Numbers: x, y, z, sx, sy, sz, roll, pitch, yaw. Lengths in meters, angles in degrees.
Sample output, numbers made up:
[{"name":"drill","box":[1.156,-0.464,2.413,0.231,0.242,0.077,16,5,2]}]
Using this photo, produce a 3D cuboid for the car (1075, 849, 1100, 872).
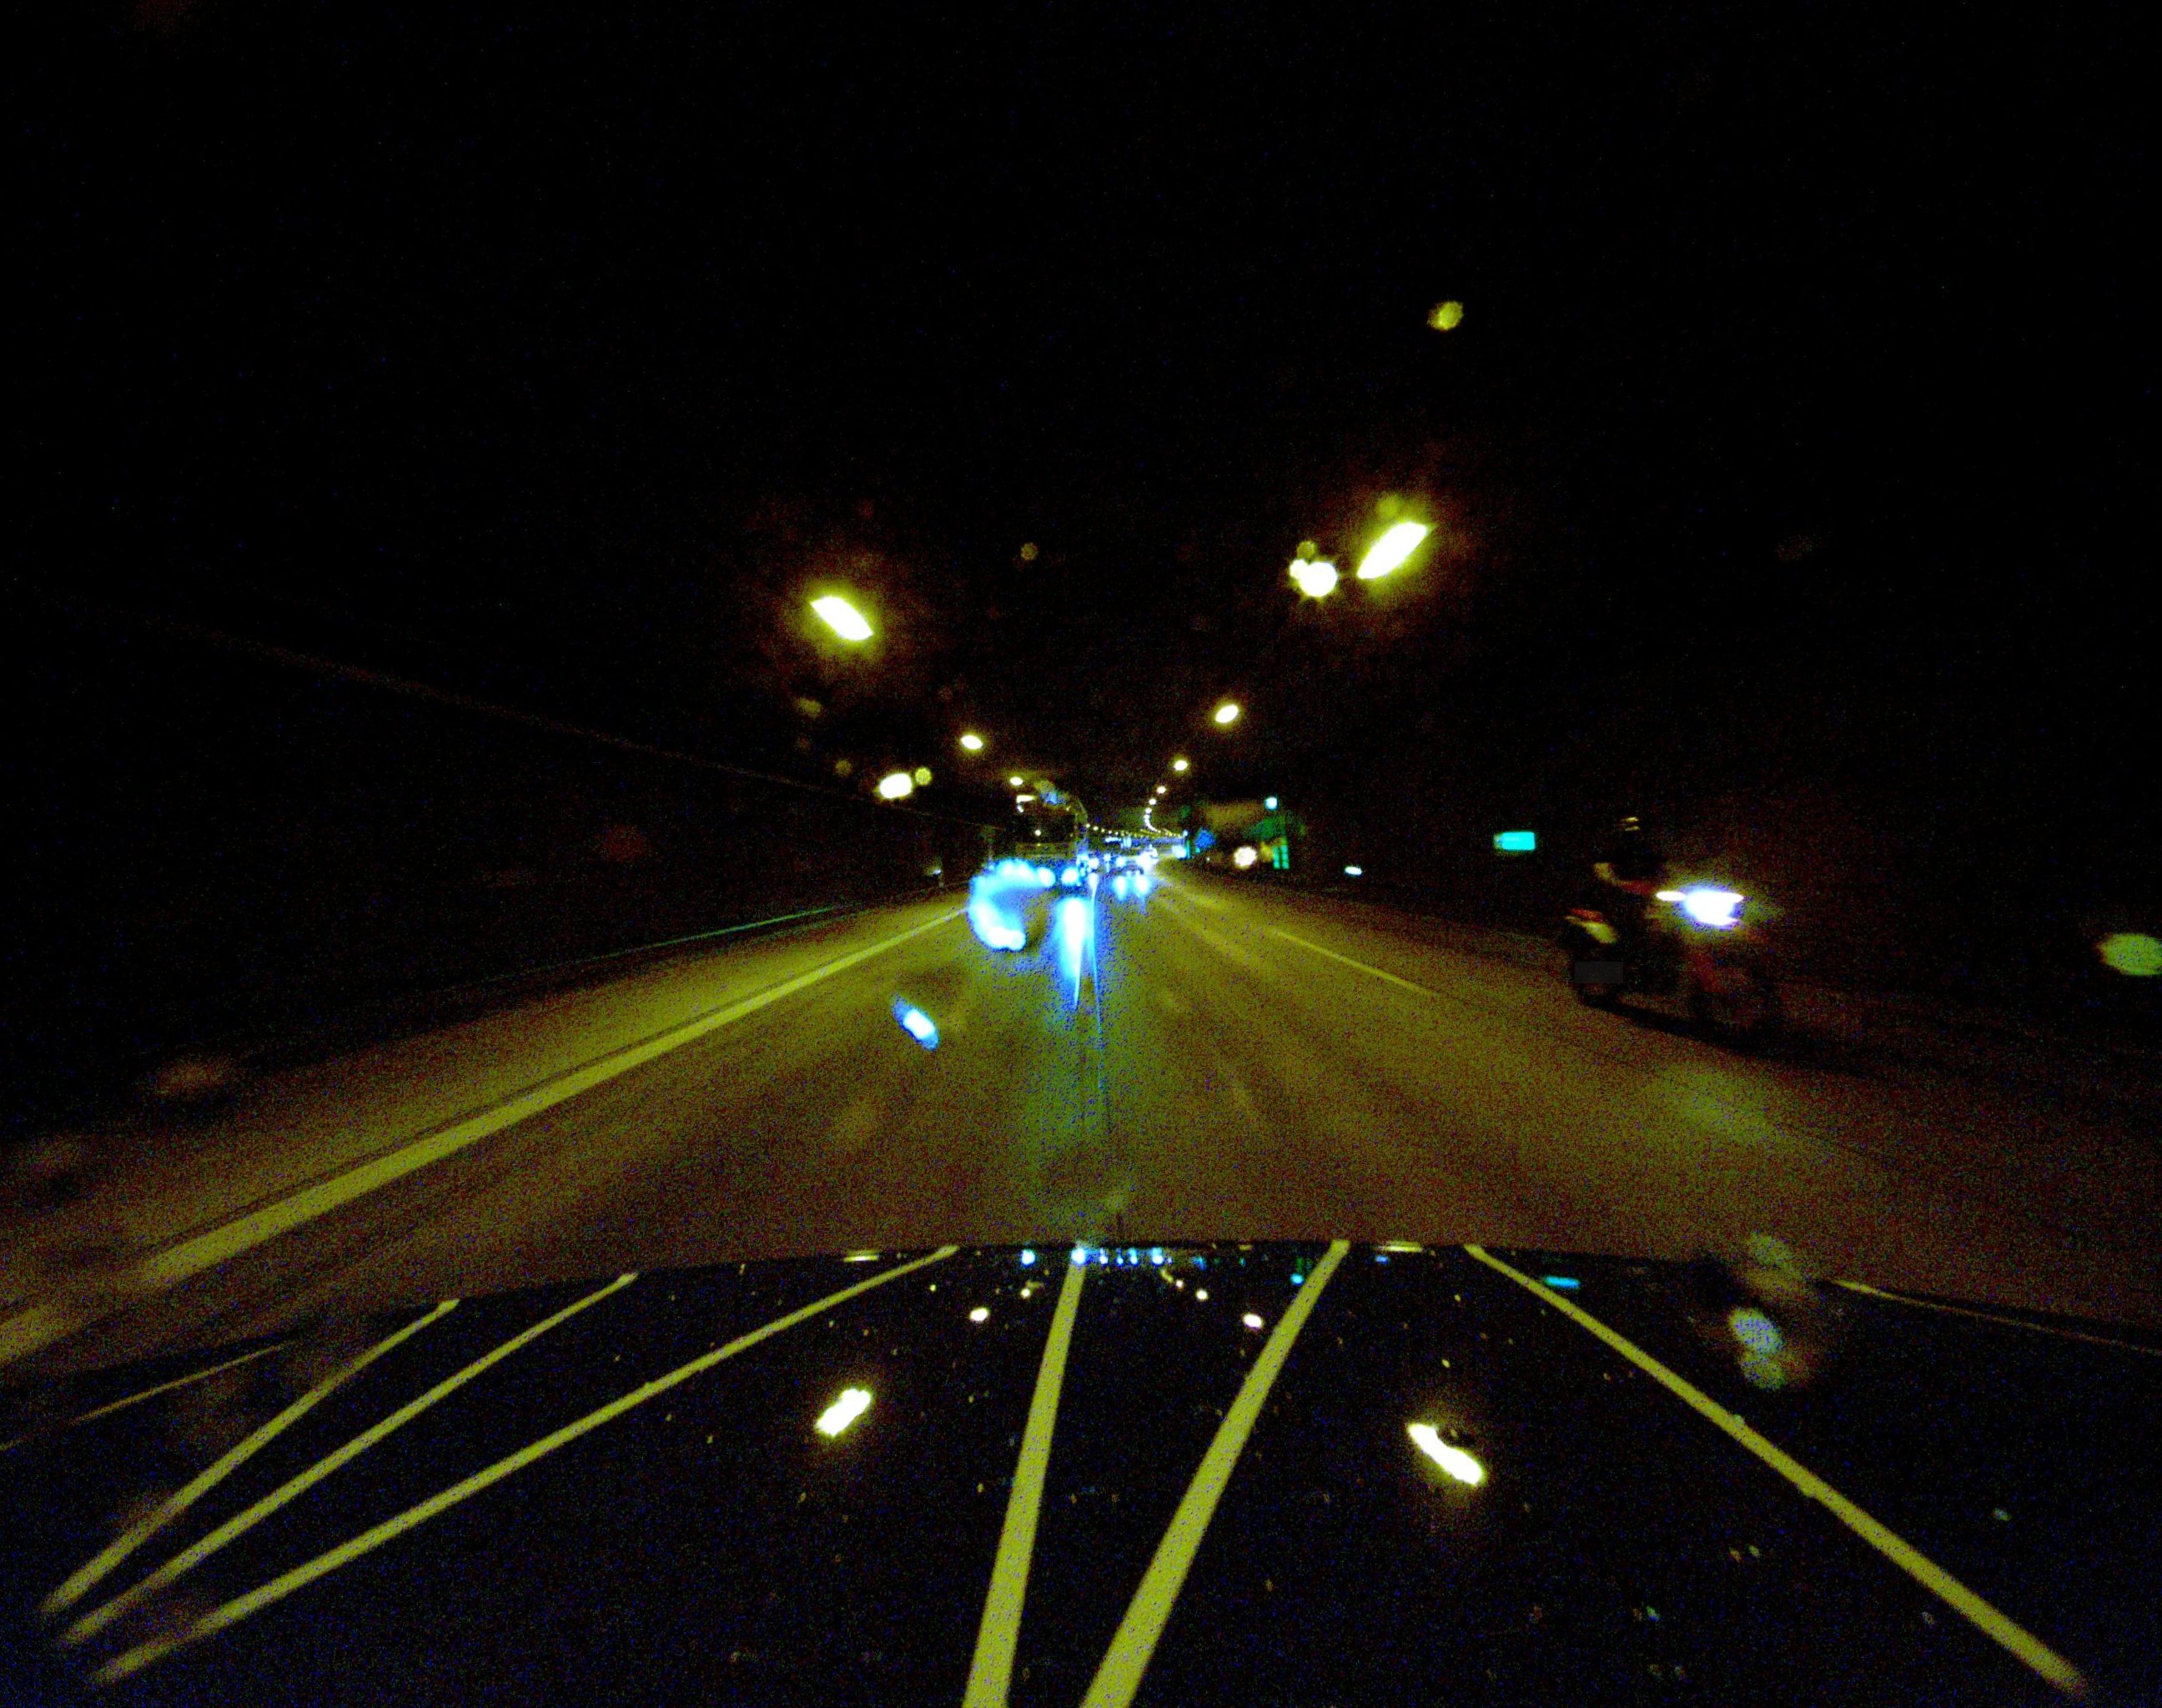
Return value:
[{"name":"car","box":[0.616,0.547,66.046,1.839,1.849,4.289,0,1,5]}]

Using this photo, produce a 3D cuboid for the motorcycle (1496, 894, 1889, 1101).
[{"name":"motorcycle","box":[4.611,0.980,6.095,1.056,1.151,2.426,-1,1,-6]}]

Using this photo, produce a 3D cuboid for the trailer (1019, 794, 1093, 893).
[{"name":"trailer","box":[-0.968,-0.478,39.712,2.626,4.139,14.002,-3,0,3]}]

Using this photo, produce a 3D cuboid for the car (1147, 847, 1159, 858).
[{"name":"car","box":[13.324,-0.327,140.478,1.997,1.788,4.002,-2,1,8]}]

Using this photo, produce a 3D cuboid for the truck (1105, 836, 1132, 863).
[{"name":"truck","box":[5.710,-0.803,115.252,2.899,3.819,9.002,-2,1,9]}]

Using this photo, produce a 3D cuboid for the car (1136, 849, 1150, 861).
[{"name":"car","box":[9.386,0.140,114.348,1.998,1.788,4.001,-2,1,6]}]

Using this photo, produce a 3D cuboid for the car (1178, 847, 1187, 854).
[{"name":"car","box":[29.364,-1.025,219.408,1.996,1.788,4.004,-2,1,15]}]

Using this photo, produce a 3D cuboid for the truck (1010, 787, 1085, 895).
[{"name":"truck","box":[-1.290,-0.512,32.687,2.652,4.139,6.005,-2,1,2]}]

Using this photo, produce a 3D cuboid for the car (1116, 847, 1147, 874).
[{"name":"car","box":[3.743,0.450,56.845,1.999,1.890,3.999,-2,0,-1]}]

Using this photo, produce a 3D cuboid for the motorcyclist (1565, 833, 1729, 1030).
[{"name":"motorcyclist","box":[4.589,0.582,6.219,0.629,1.480,0.890,-1,1,-6]}]
